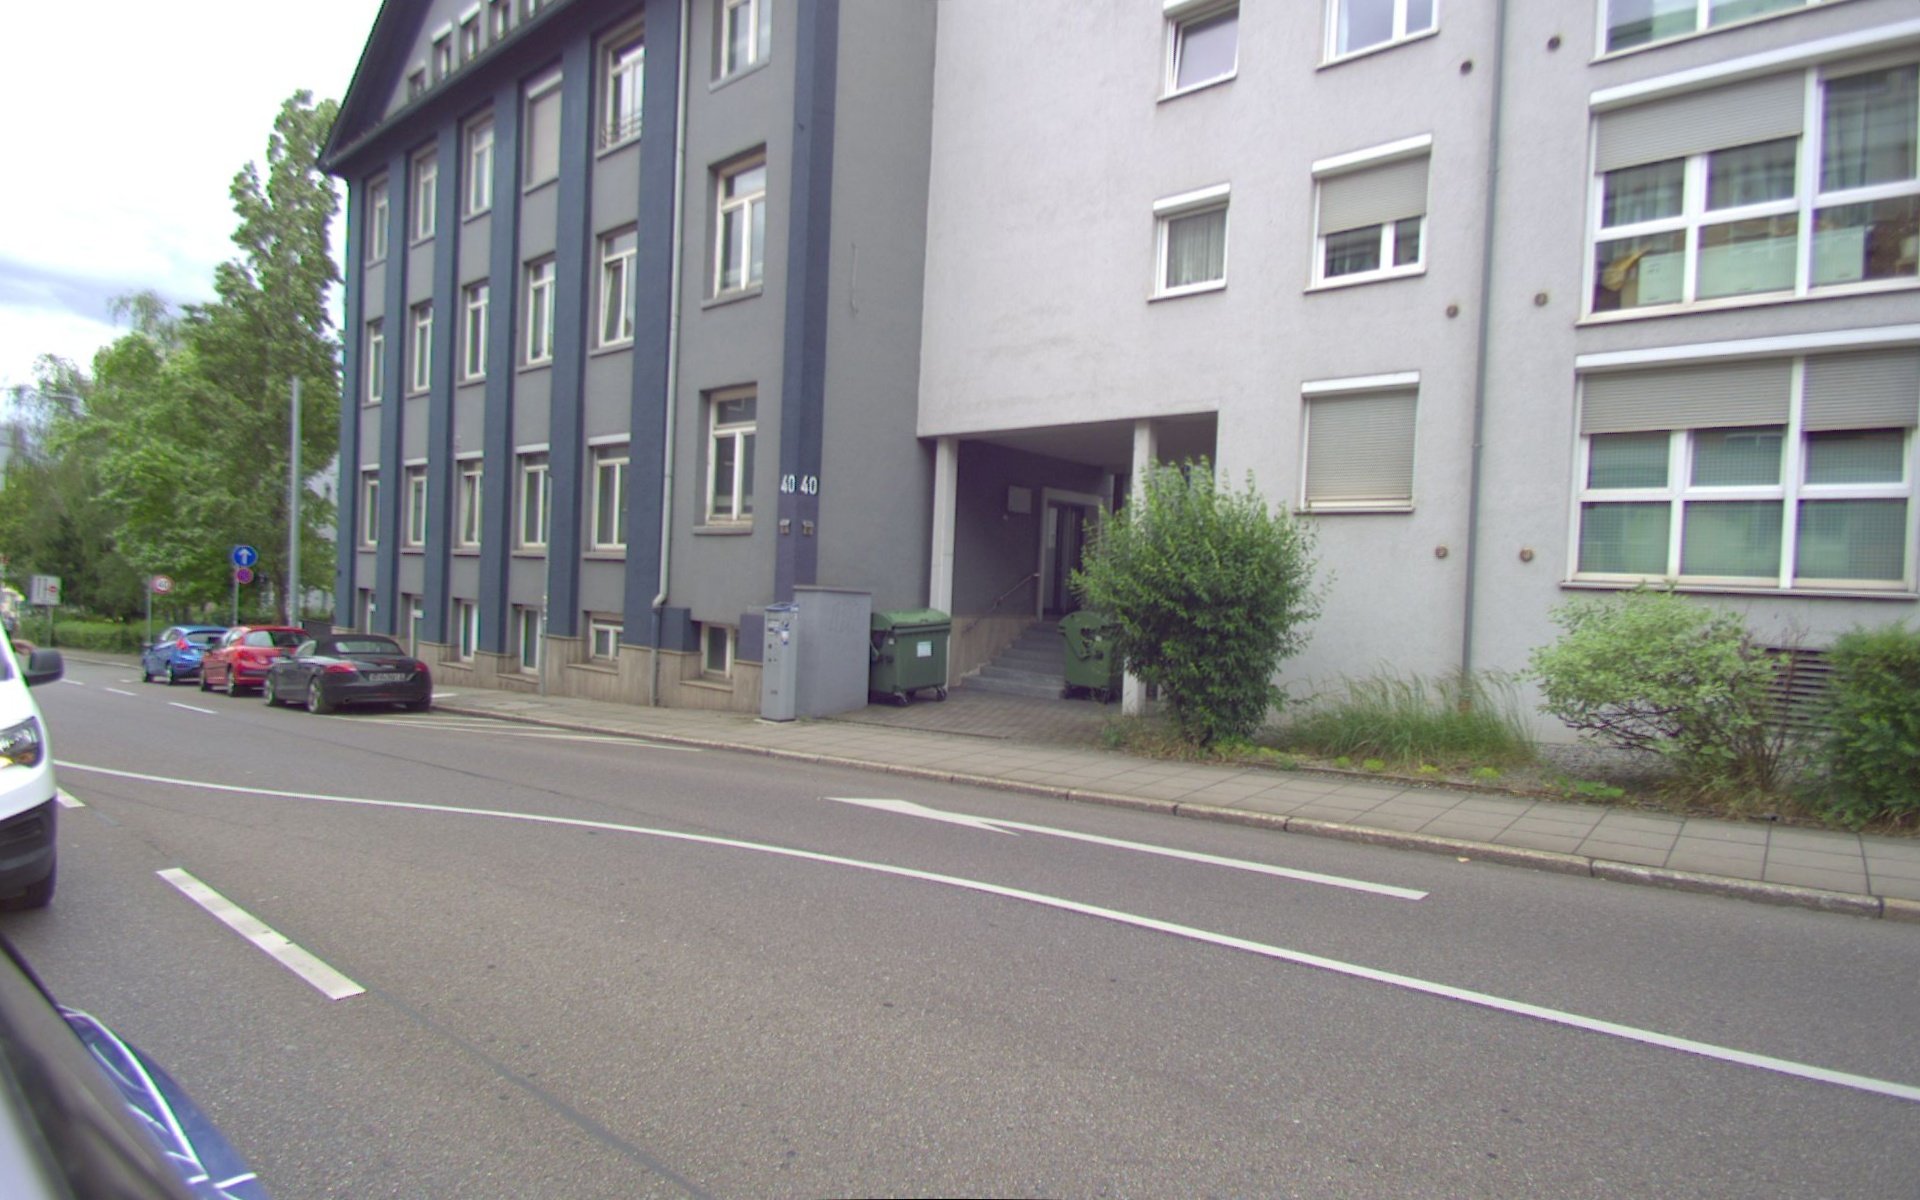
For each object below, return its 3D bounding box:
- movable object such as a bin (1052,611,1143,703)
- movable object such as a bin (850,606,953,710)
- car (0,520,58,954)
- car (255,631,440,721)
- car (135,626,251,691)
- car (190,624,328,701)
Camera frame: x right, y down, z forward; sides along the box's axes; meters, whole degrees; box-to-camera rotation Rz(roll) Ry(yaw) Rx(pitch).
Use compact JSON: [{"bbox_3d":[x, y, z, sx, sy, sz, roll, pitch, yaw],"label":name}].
[{"bbox_3d":[2.255,0.904,16.587,1.078,1.427,1.026,-1,0,41],"label":"movable object such as a bin"},{"bbox_3d":[-0.902,0.861,15.757,1.039,1.518,1.213,-1,0,41],"label":"movable object such as a bin"},{"bbox_3d":[-6.147,0.625,5.245,3.998,1.901,1.716,-1,0,41],"label":"car"},{"bbox_3d":[-11.030,1.282,18.148,3.727,1.403,1.778,-1,-2,41],"label":"car"},{"bbox_3d":[-19.495,1.434,25.684,3.727,1.460,1.623,-1,0,41],"label":"car"},{"bbox_3d":[-15.327,1.294,22.055,3.727,1.460,1.623,-1,0,41],"label":"car"}]
